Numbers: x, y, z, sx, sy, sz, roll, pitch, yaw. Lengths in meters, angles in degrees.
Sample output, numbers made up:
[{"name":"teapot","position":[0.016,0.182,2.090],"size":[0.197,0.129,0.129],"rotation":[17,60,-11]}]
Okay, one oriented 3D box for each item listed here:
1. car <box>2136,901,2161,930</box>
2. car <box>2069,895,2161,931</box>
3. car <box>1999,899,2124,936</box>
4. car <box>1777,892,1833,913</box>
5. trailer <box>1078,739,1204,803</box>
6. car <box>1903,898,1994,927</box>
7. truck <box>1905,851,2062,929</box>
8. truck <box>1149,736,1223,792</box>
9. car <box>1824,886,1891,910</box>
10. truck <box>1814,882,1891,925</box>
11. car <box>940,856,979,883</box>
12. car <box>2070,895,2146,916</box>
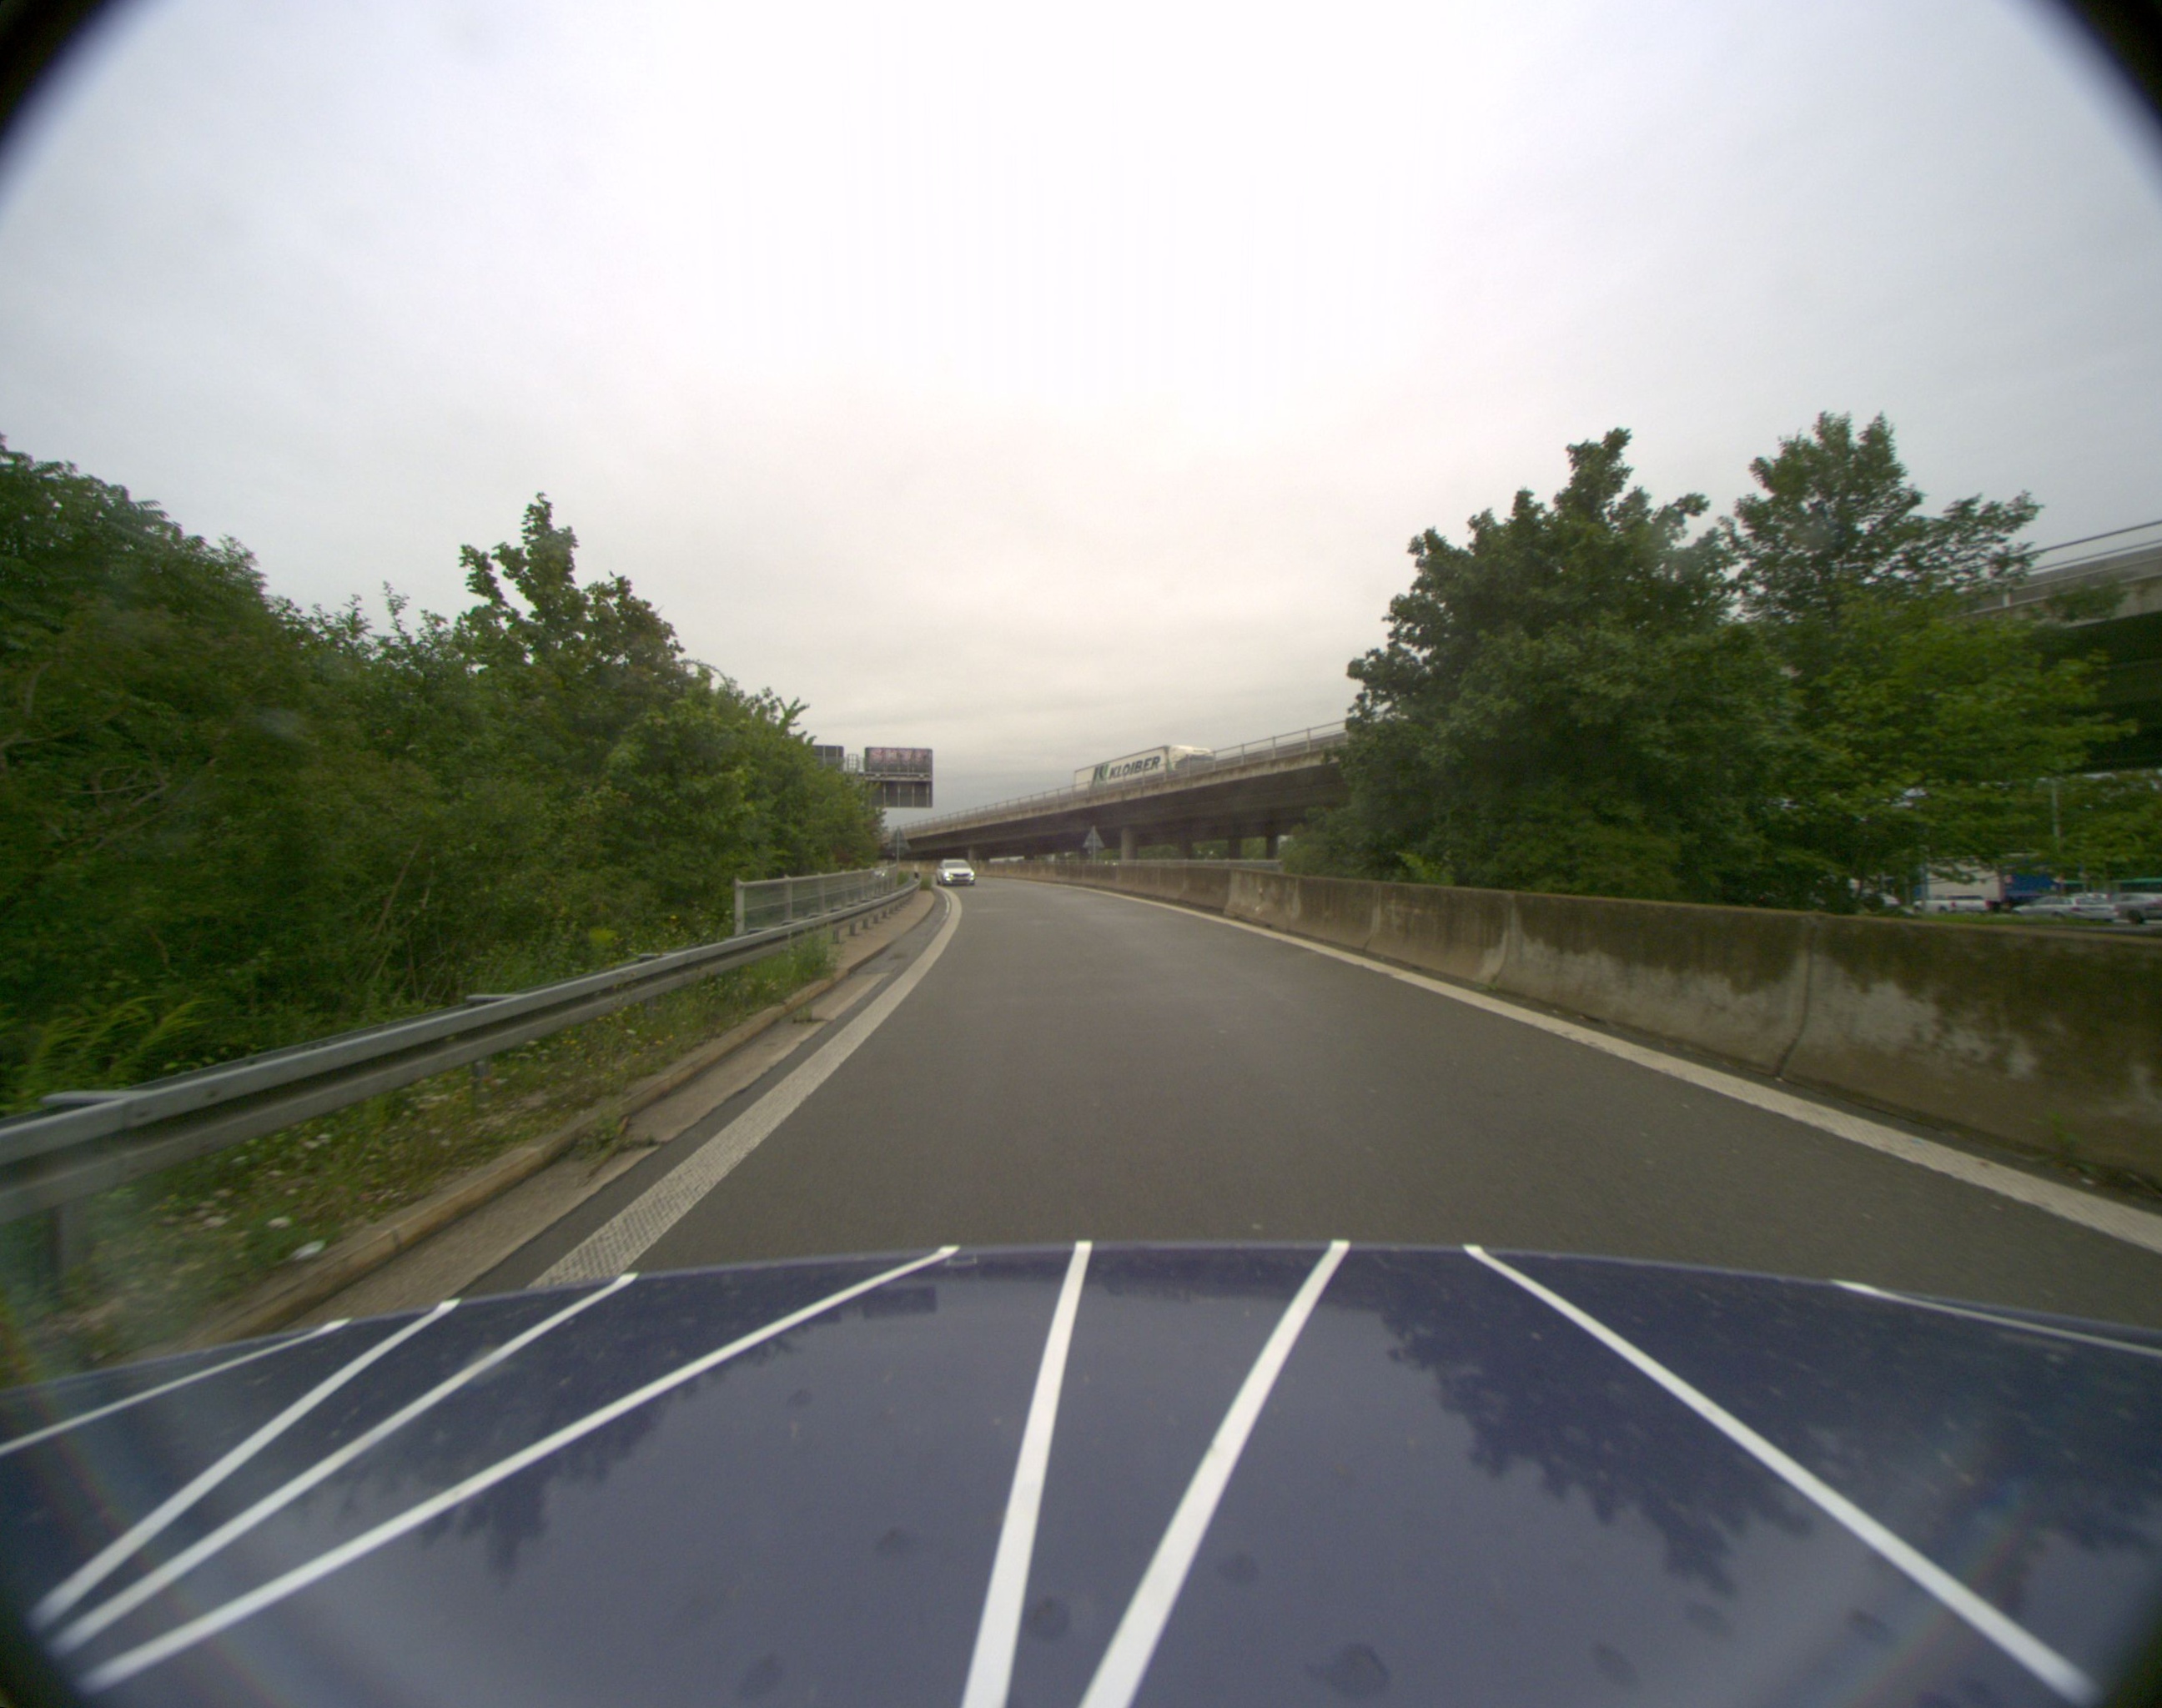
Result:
[{"name":"car","position":[61.876,3.502,42.111],"size":[1.970,1.573,4.600],"rotation":[1,-1,25]},{"name":"car","position":[53.703,2.998,38.856],"size":[1.970,1.573,4.600],"rotation":[1,-1,25]},{"name":"car","position":[50.994,3.251,39.684],"size":[1.970,1.573,4.600],"rotation":[1,-1,22]},{"name":"car","position":[62.849,4.196,66.089],"size":[1.970,1.596,4.599],"rotation":[1,-1,22]},{"name":"trailer","position":[4.403,-6.369,61.089],"size":[2.670,3.278,14.031],"rotation":[0,-1,-29]},{"name":"car","position":[54.871,3.663,48.179],"size":[1.970,1.573,4.600],"rotation":[1,-1,22]},{"name":"truck","position":[58.958,2.263,50.085],"size":[2.792,4.564,9.621],"rotation":[1,-1,25]},{"name":"truck","position":[7.598,-6.499,55.525],"size":[2.601,3.226,5.183],"rotation":[0,-2,-30]},{"name":"car","position":[59.364,3.338,58.193],"size":[1.970,1.573,4.600],"rotation":[1,-1,23]},{"name":"truck","position":[71.392,4.506,70.493],"size":[2.792,3.657,6.657],"rotation":[1,-1,25]},{"name":"car","position":[-6.977,0.877,43.371],"size":[1.917,1.439,4.552],"rotation":[-1,-1,-12]},{"name":"car","position":[91.000,4.530,67.366],"size":[1.802,1.695,3.989],"rotation":[3,-2,-36]}]
